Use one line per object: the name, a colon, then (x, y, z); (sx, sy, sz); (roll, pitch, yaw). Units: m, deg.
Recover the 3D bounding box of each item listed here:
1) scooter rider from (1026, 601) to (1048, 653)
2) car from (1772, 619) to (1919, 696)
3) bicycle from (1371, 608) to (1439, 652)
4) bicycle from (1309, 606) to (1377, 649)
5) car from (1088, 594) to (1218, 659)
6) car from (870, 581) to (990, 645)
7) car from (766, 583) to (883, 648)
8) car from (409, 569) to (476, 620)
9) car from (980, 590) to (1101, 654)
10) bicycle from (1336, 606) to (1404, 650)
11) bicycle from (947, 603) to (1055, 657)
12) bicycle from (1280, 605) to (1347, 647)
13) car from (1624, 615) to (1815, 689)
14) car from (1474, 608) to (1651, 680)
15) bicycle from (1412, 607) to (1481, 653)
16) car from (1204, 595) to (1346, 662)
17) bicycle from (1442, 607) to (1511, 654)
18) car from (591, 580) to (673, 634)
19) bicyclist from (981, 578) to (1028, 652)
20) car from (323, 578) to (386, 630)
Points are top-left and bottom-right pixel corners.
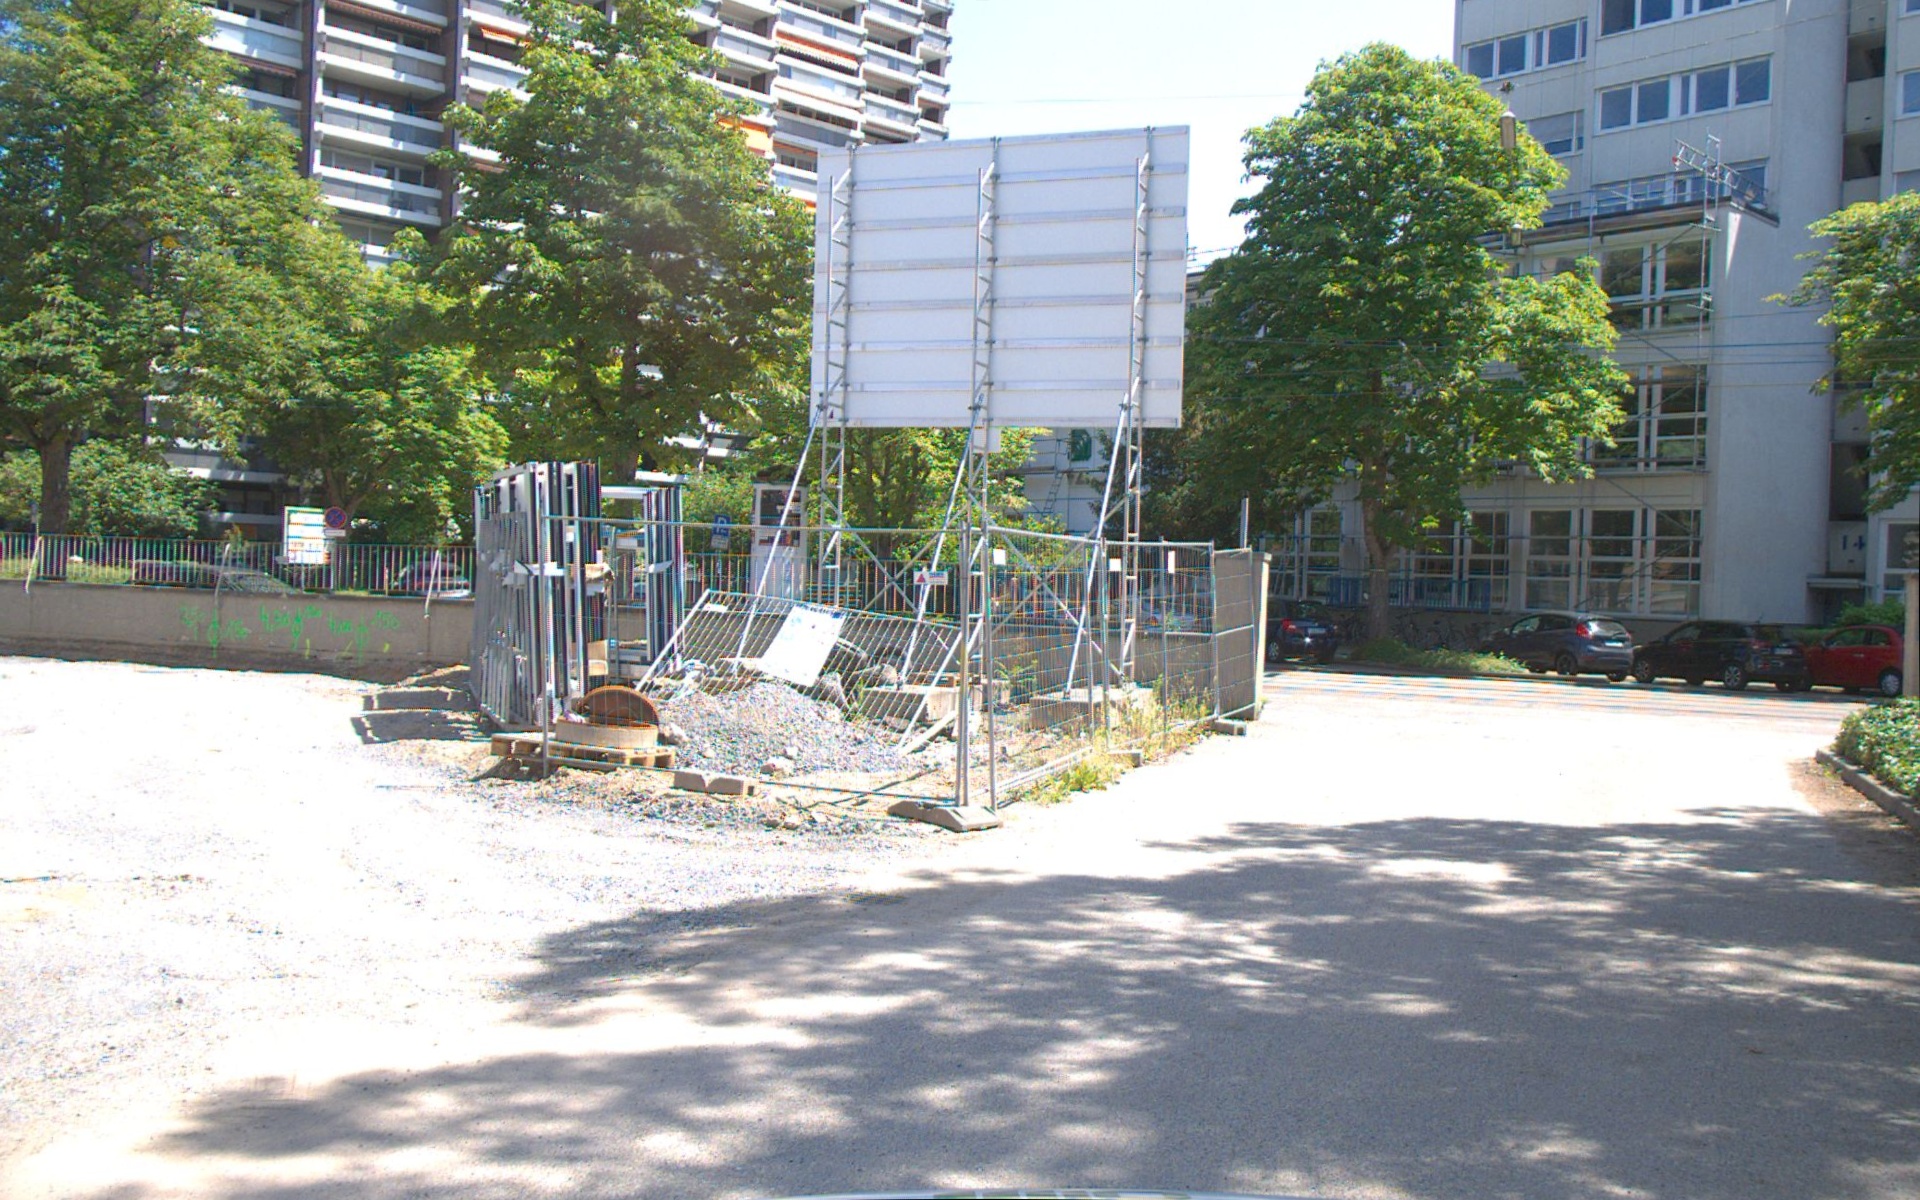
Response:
scooter rider: (1.760, 0.611, 37.743); (0.407, 1.154, 0.359); (1, 0, 17)
car: (19.405, 1.199, 35.347); (1.584, 1.462, 3.580); (1, 0, -21)
bicycle: (12.314, 0.823, 45.725); (0.770, 1.178, 2.368); (1, 0, 43)
bicycle: (10.919, 0.781, 47.086); (0.770, 1.178, 2.368); (1, 0, 43)
car: (4.701, 0.628, 40.689); (1.610, 1.489, 3.653); (1, 0, -22)
car: (-0.799, 0.303, 41.615); (1.613, 1.489, 3.646); (1, 0, -27)
car: (-3.372, 0.357, 40.673); (1.613, 1.489, 3.646); (1, 0, -27)
car: (-15.112, -0.166, 48.237); (1.610, 1.411, 3.655); (1, 0, -21)
car: (1.966, 0.531, 41.324); (1.610, 1.489, 3.653); (1, 0, -22)
bicycle: (11.534, 0.791, 46.468); (0.770, 1.178, 2.368); (1, 0, 43)
bicycle: (0.972, 0.694, 38.801); (2.381, 1.172, 0.786); (2, 0, 16)
bicycle: (10.219, 0.750, 47.784); (0.770, 1.178, 2.368); (1, 0, 43)
car: (16.550, 1.109, 36.209); (1.586, 1.470, 3.650); (1, 0, -24)
car: (13.609, 0.977, 37.555); (1.620, 1.489, 3.645); (1, 0, -27)
bicycle: (13.214, 0.821, 44.907); (0.770, 1.208, 2.415); (1, 0, 43)
car: (7.502, 0.653, 39.686); (1.610, 1.489, 3.653); (1, 0, -22)
bicycle: (13.832, 0.822, 44.261); (0.770, 1.208, 2.415); (1, 0, 43)
car: (-9.055, 0.170, 45.516); (1.610, 1.411, 3.655); (1, 0, -21)
bicyclist: (1.048, 0.359, 38.789); (0.879, 1.695, 0.859); (1, 0, 16)
car: (-17.669, 0.095, 48.217); (1.610, 1.411, 3.655); (1, 0, -21)
